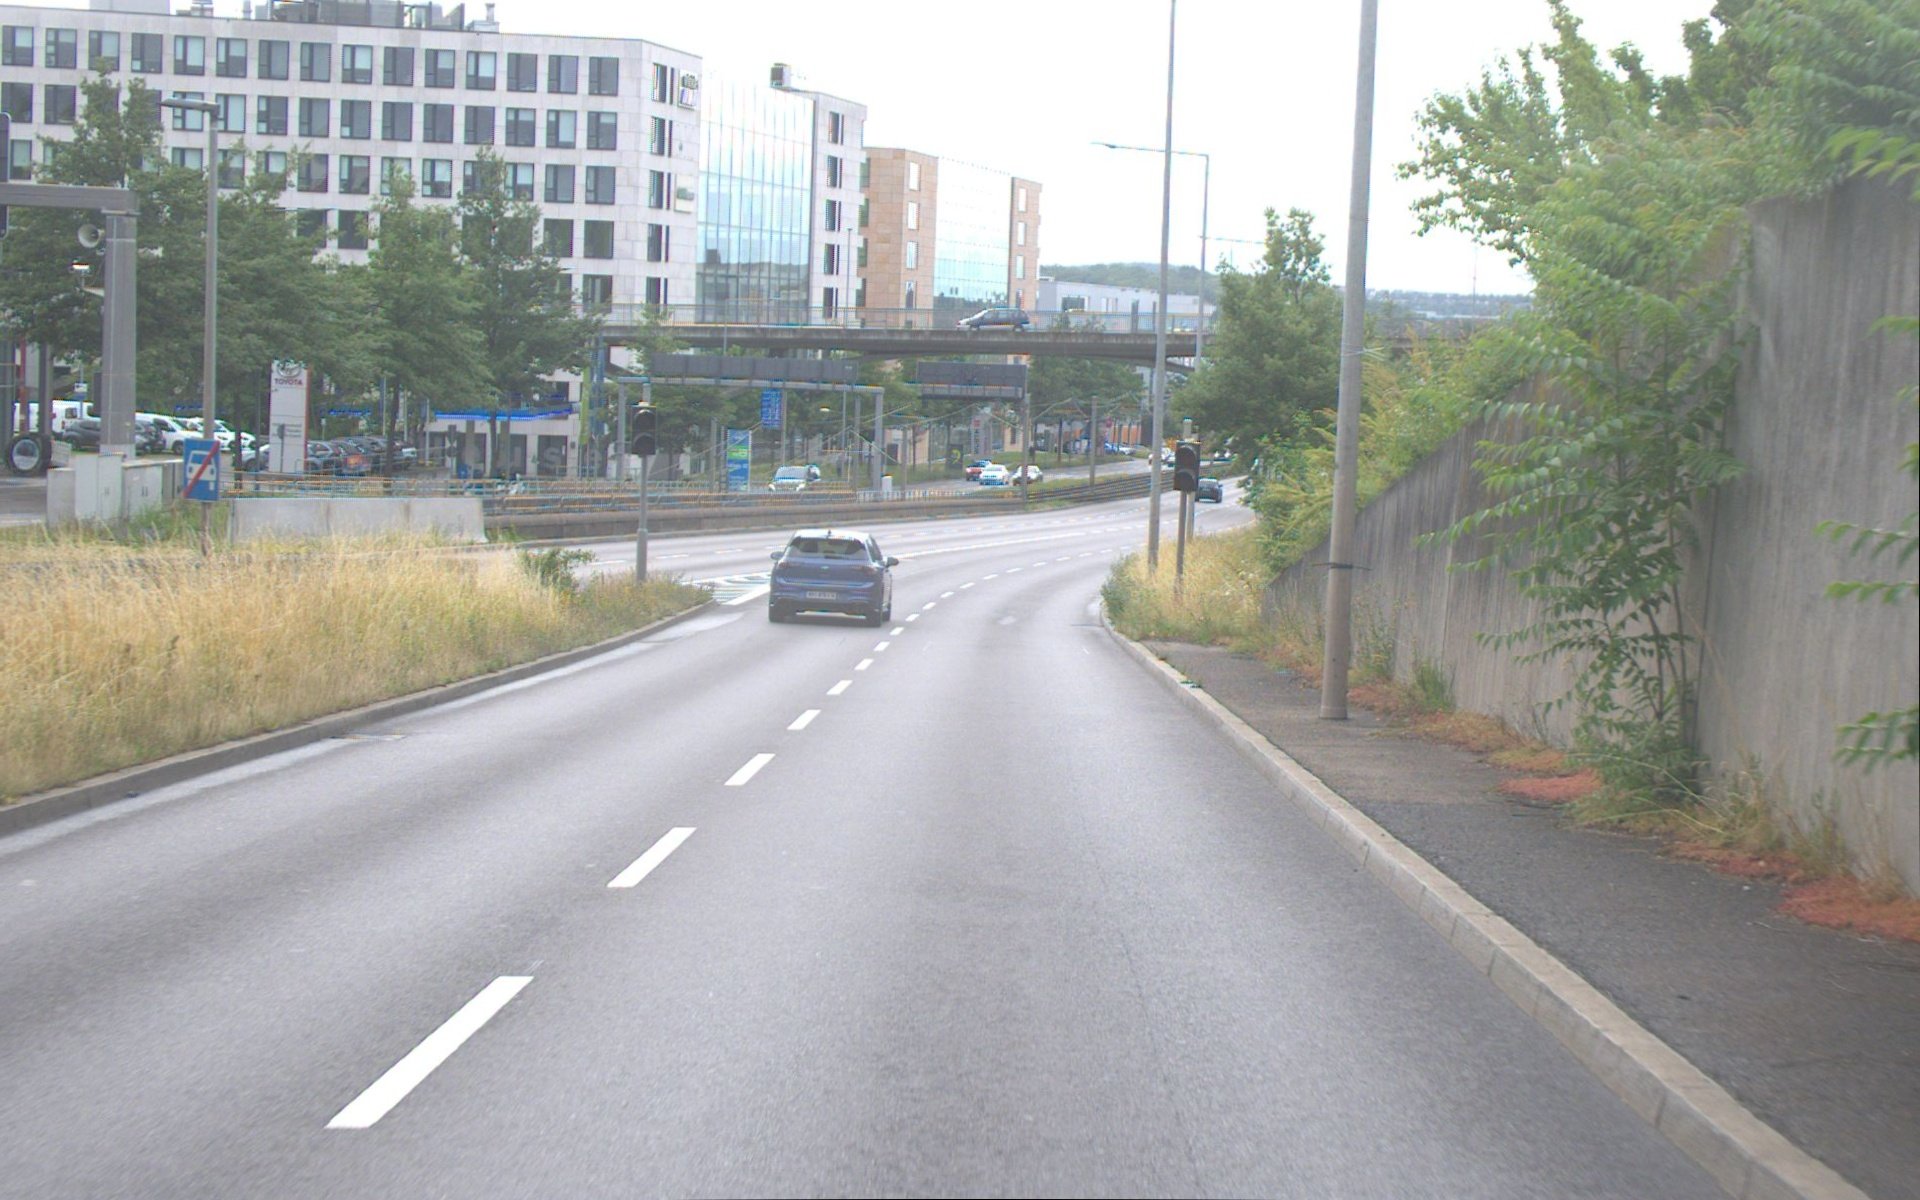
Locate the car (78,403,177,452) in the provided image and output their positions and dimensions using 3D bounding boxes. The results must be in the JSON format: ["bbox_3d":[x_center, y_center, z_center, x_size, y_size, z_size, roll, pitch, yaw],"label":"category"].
[{"bbox_3d":[-39.087,-8.095,161.434,3.990,2.006,1.999,4,3,14],"label":"car"}]

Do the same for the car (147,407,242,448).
[{"bbox_3d":[-37.640,-8.505,169.058,3.990,1.645,1.999,6,5,14],"label":"car"}]

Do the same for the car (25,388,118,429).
[{"bbox_3d":[-43.822,-9.453,169.643,3.988,1.645,1.821,5,5,5],"label":"car"}]

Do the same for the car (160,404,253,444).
[{"bbox_3d":[-37.628,-8.795,171.625,3.990,1.645,1.999,6,5,14],"label":"car"}]

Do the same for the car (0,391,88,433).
[{"bbox_3d":[-43.713,-8.928,163.129,3.988,1.645,2.000,5,5,7],"label":"car"}]

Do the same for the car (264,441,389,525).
[{"bbox_3d":[-14.123,-2.637,76.840,1.688,1.584,3.549,5,5,6],"label":"car"}]

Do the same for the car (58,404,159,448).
[{"bbox_3d":[-39.302,-8.052,158.754,3.988,1.645,2.000,5,5,7],"label":"car"}]

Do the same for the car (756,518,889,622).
[{"bbox_3d":[-2.130,-0.498,53.955,1.749,1.415,3.478,-1,4,3],"label":"car"}]

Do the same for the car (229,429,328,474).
[{"bbox_3d":[-30.687,-6.698,154.828,3.986,1.645,2.001,3,3,-21],"label":"car"}]

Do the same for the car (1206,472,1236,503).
[{"bbox_3d":[17.798,-7.676,234.607,1.863,1.743,4.001,5,5,5],"label":"car"}]

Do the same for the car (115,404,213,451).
[{"bbox_3d":[-37.863,-8.211,163.650,3.990,1.869,1.999,6,5,14],"label":"car"}]
